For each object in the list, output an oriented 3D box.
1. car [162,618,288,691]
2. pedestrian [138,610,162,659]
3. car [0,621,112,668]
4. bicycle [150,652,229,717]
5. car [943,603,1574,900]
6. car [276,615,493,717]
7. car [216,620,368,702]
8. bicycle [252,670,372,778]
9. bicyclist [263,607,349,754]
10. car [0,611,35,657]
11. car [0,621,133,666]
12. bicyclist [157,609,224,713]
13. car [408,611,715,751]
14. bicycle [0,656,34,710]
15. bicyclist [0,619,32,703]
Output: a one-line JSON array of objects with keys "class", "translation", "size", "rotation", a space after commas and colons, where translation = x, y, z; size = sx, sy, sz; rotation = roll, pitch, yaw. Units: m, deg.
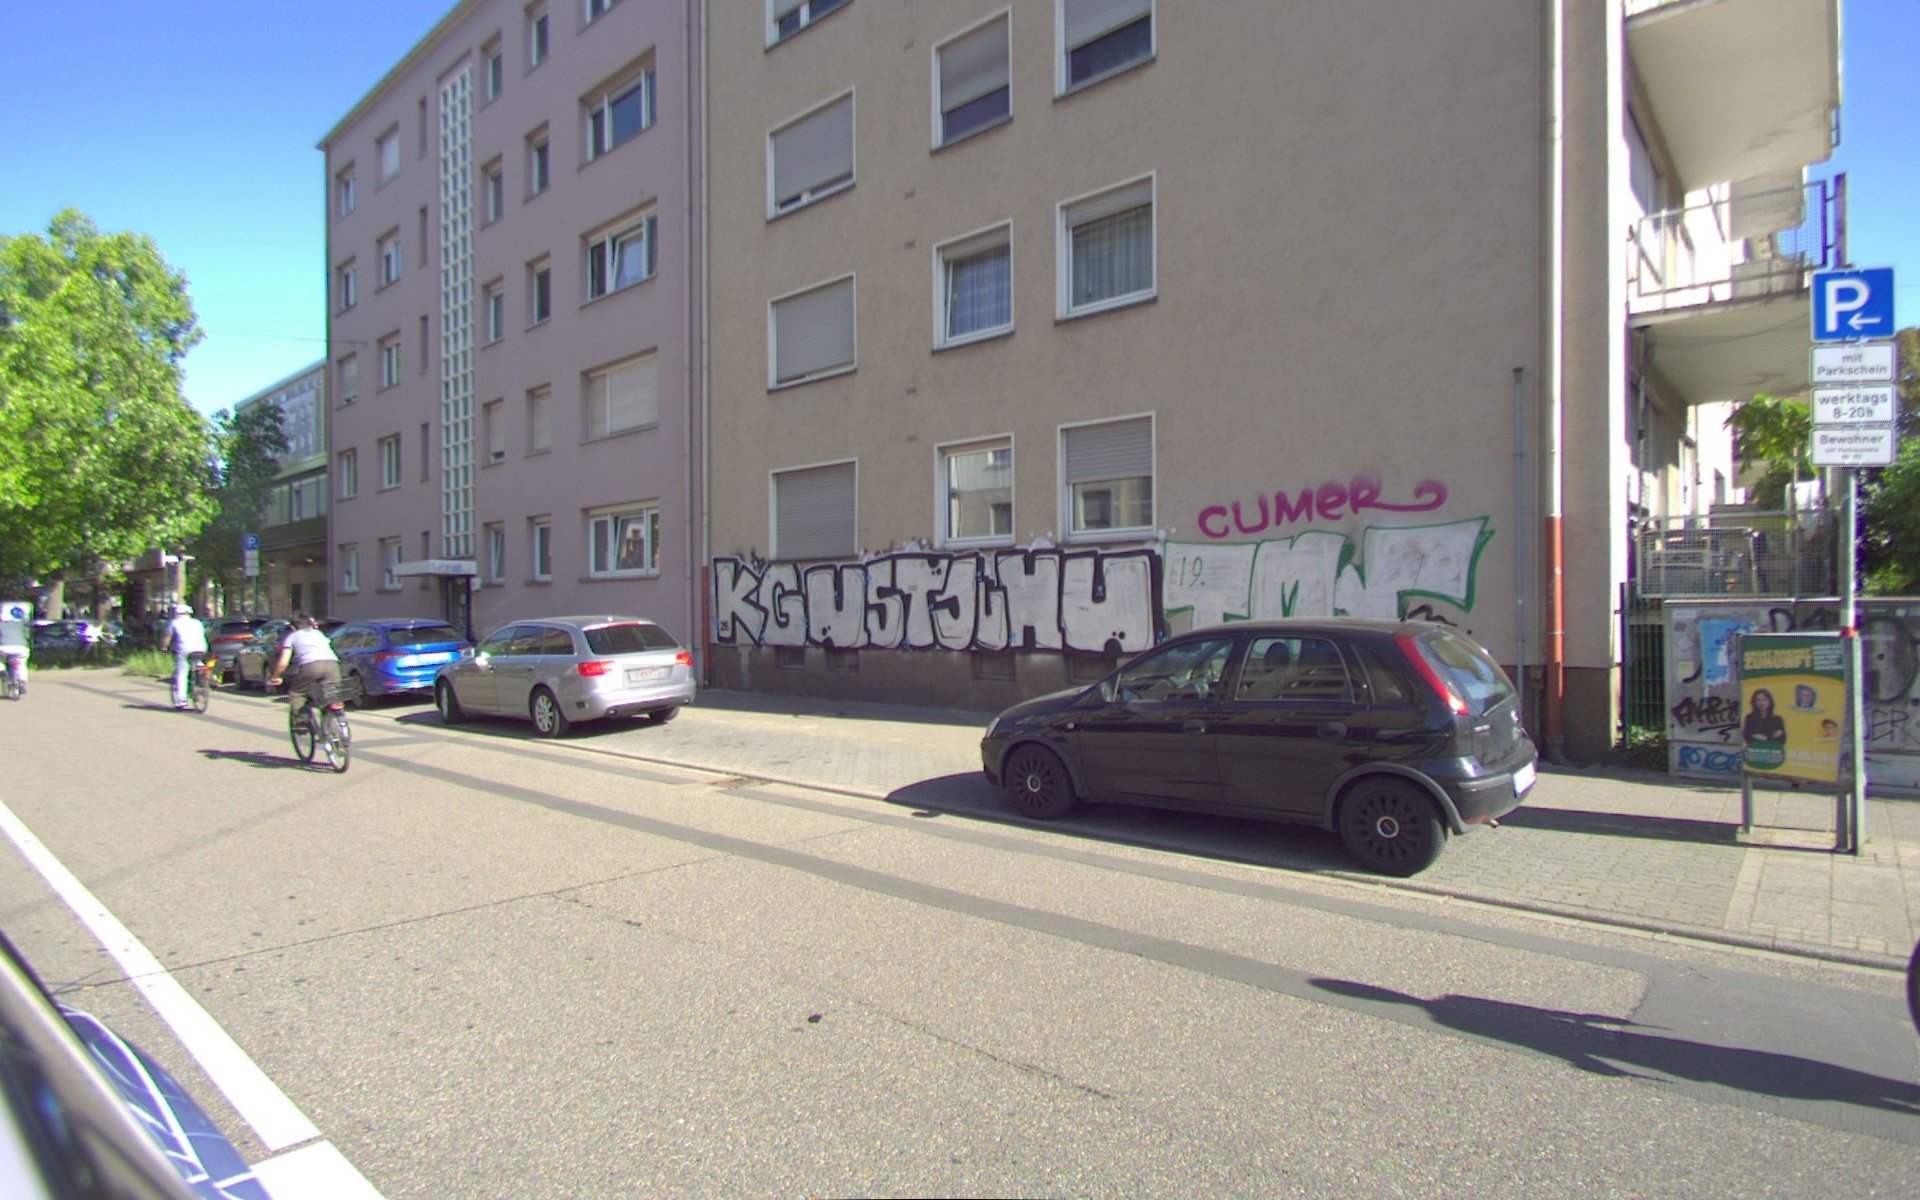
[{"class": "car", "translation": [-18.194, 1.288, 24.990], "size": [4.157, 1.588, 1.704], "rotation": [-2, 1, 43]}, {"class": "pedestrian", "translation": [-30.814, 1.307, 38.500], "size": [0.502, 1.820, 0.615], "rotation": [-2, -1, 42]}, {"class": "car", "translation": [-32.972, 1.586, 36.163], "size": [1.913, 1.564, 3.943], "rotation": [-2, -1, 43]}, {"class": "bicycle", "translation": [-12.748, 1.363, 16.724], "size": [1.933, 0.959, 0.672], "rotation": [-2, -1, 42]}, {"class": "car", "translation": [1.896, 0.818, 7.061], "size": [3.853, 1.459, 1.674], "rotation": [-2, 1, 40]}, {"class": "car", "translation": [-10.398, 1.095, 18.125], "size": [4.798, 1.514, 1.805], "rotation": [-2, 1, 40]}, {"class": "car", "translation": [-14.125, 1.220, 21.310], "size": [4.157, 1.478, 1.704], "rotation": [-2, 1, 43]}, {"class": "bicycle", "translation": [-6.468, 1.187, 10.059], "size": [1.825, 0.909, 0.537], "rotation": [-2, -1, 42]}, {"class": "bicyclist", "translation": [-6.552, 0.780, 10.131], "size": [0.788, 1.402, 0.537], "rotation": [-2, -1, 41]}, {"class": "car", "translation": [-43.878, 1.544, 45.073], "size": [1.913, 2.058, 3.824], "rotation": [-2, -1, 43]}, {"class": "car", "translation": [-34.626, 1.639, 39.112], "size": [1.913, 1.564, 3.943], "rotation": [-2, -1, 43]}, {"class": "bicyclist", "translation": [-12.690, 0.989, 16.684], "size": [0.898, 1.643, 0.672], "rotation": [-2, -3, 41]}, {"class": "car", "translation": [-5.565, 0.981, 13.802], "size": [4.798, 1.514, 1.805], "rotation": [-2, 1, 40]}, {"class": "bicycle", "translation": [-18.529, 1.584, 19.591], "size": [1.933, 0.959, 0.672], "rotation": [-2, -3, 42]}, {"class": "bicyclist", "translation": [-18.532, 1.171, 19.618], "size": [0.898, 1.588, 0.672], "rotation": [-2, -3, 41]}]
